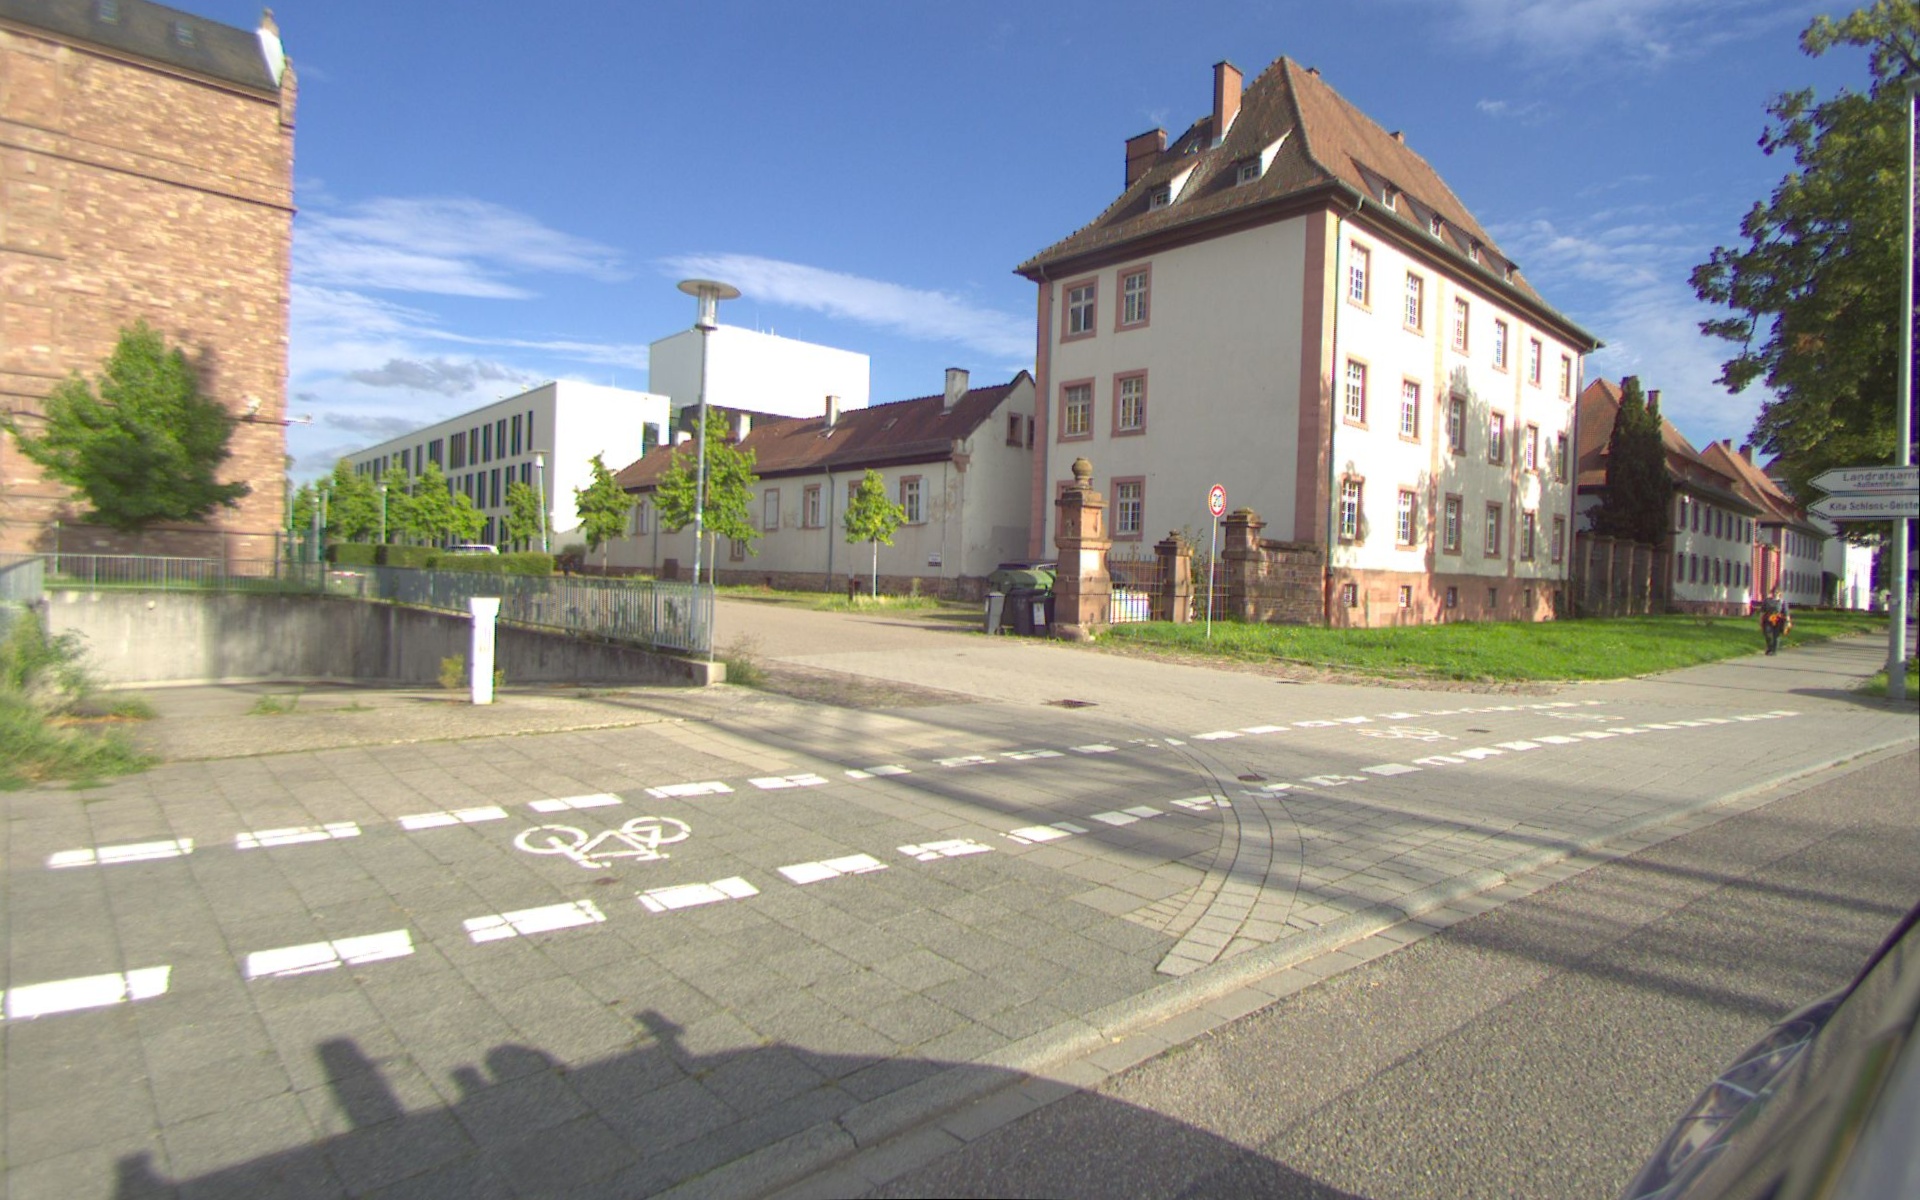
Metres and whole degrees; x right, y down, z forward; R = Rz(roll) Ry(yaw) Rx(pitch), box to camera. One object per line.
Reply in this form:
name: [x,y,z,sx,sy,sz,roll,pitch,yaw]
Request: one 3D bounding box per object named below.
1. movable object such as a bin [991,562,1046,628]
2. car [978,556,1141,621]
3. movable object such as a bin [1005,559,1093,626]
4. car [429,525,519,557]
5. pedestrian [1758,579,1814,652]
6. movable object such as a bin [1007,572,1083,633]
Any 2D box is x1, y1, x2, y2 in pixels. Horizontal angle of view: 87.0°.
movable object such as a bin: [1.321,-0.114,22.793,0.830,1.441,0.927,2,1,44]
car: [2.840,-0.314,28.400,4.425,1.627,1.998,1,3,-40]
movable object such as a bin: [2.085,-0.187,23.747,1.414,1.477,1.519,2,1,44]
car: [-34.085,-4.098,71.108,5.389,2.039,1.998,0,1,-40]
pedestrian: [19.192,0.337,23.523,0.756,1.609,0.815,0,4,-43]
movable object such as a bin: [1.817,0.031,21.676,1.191,1.246,1.076,2,1,44]
